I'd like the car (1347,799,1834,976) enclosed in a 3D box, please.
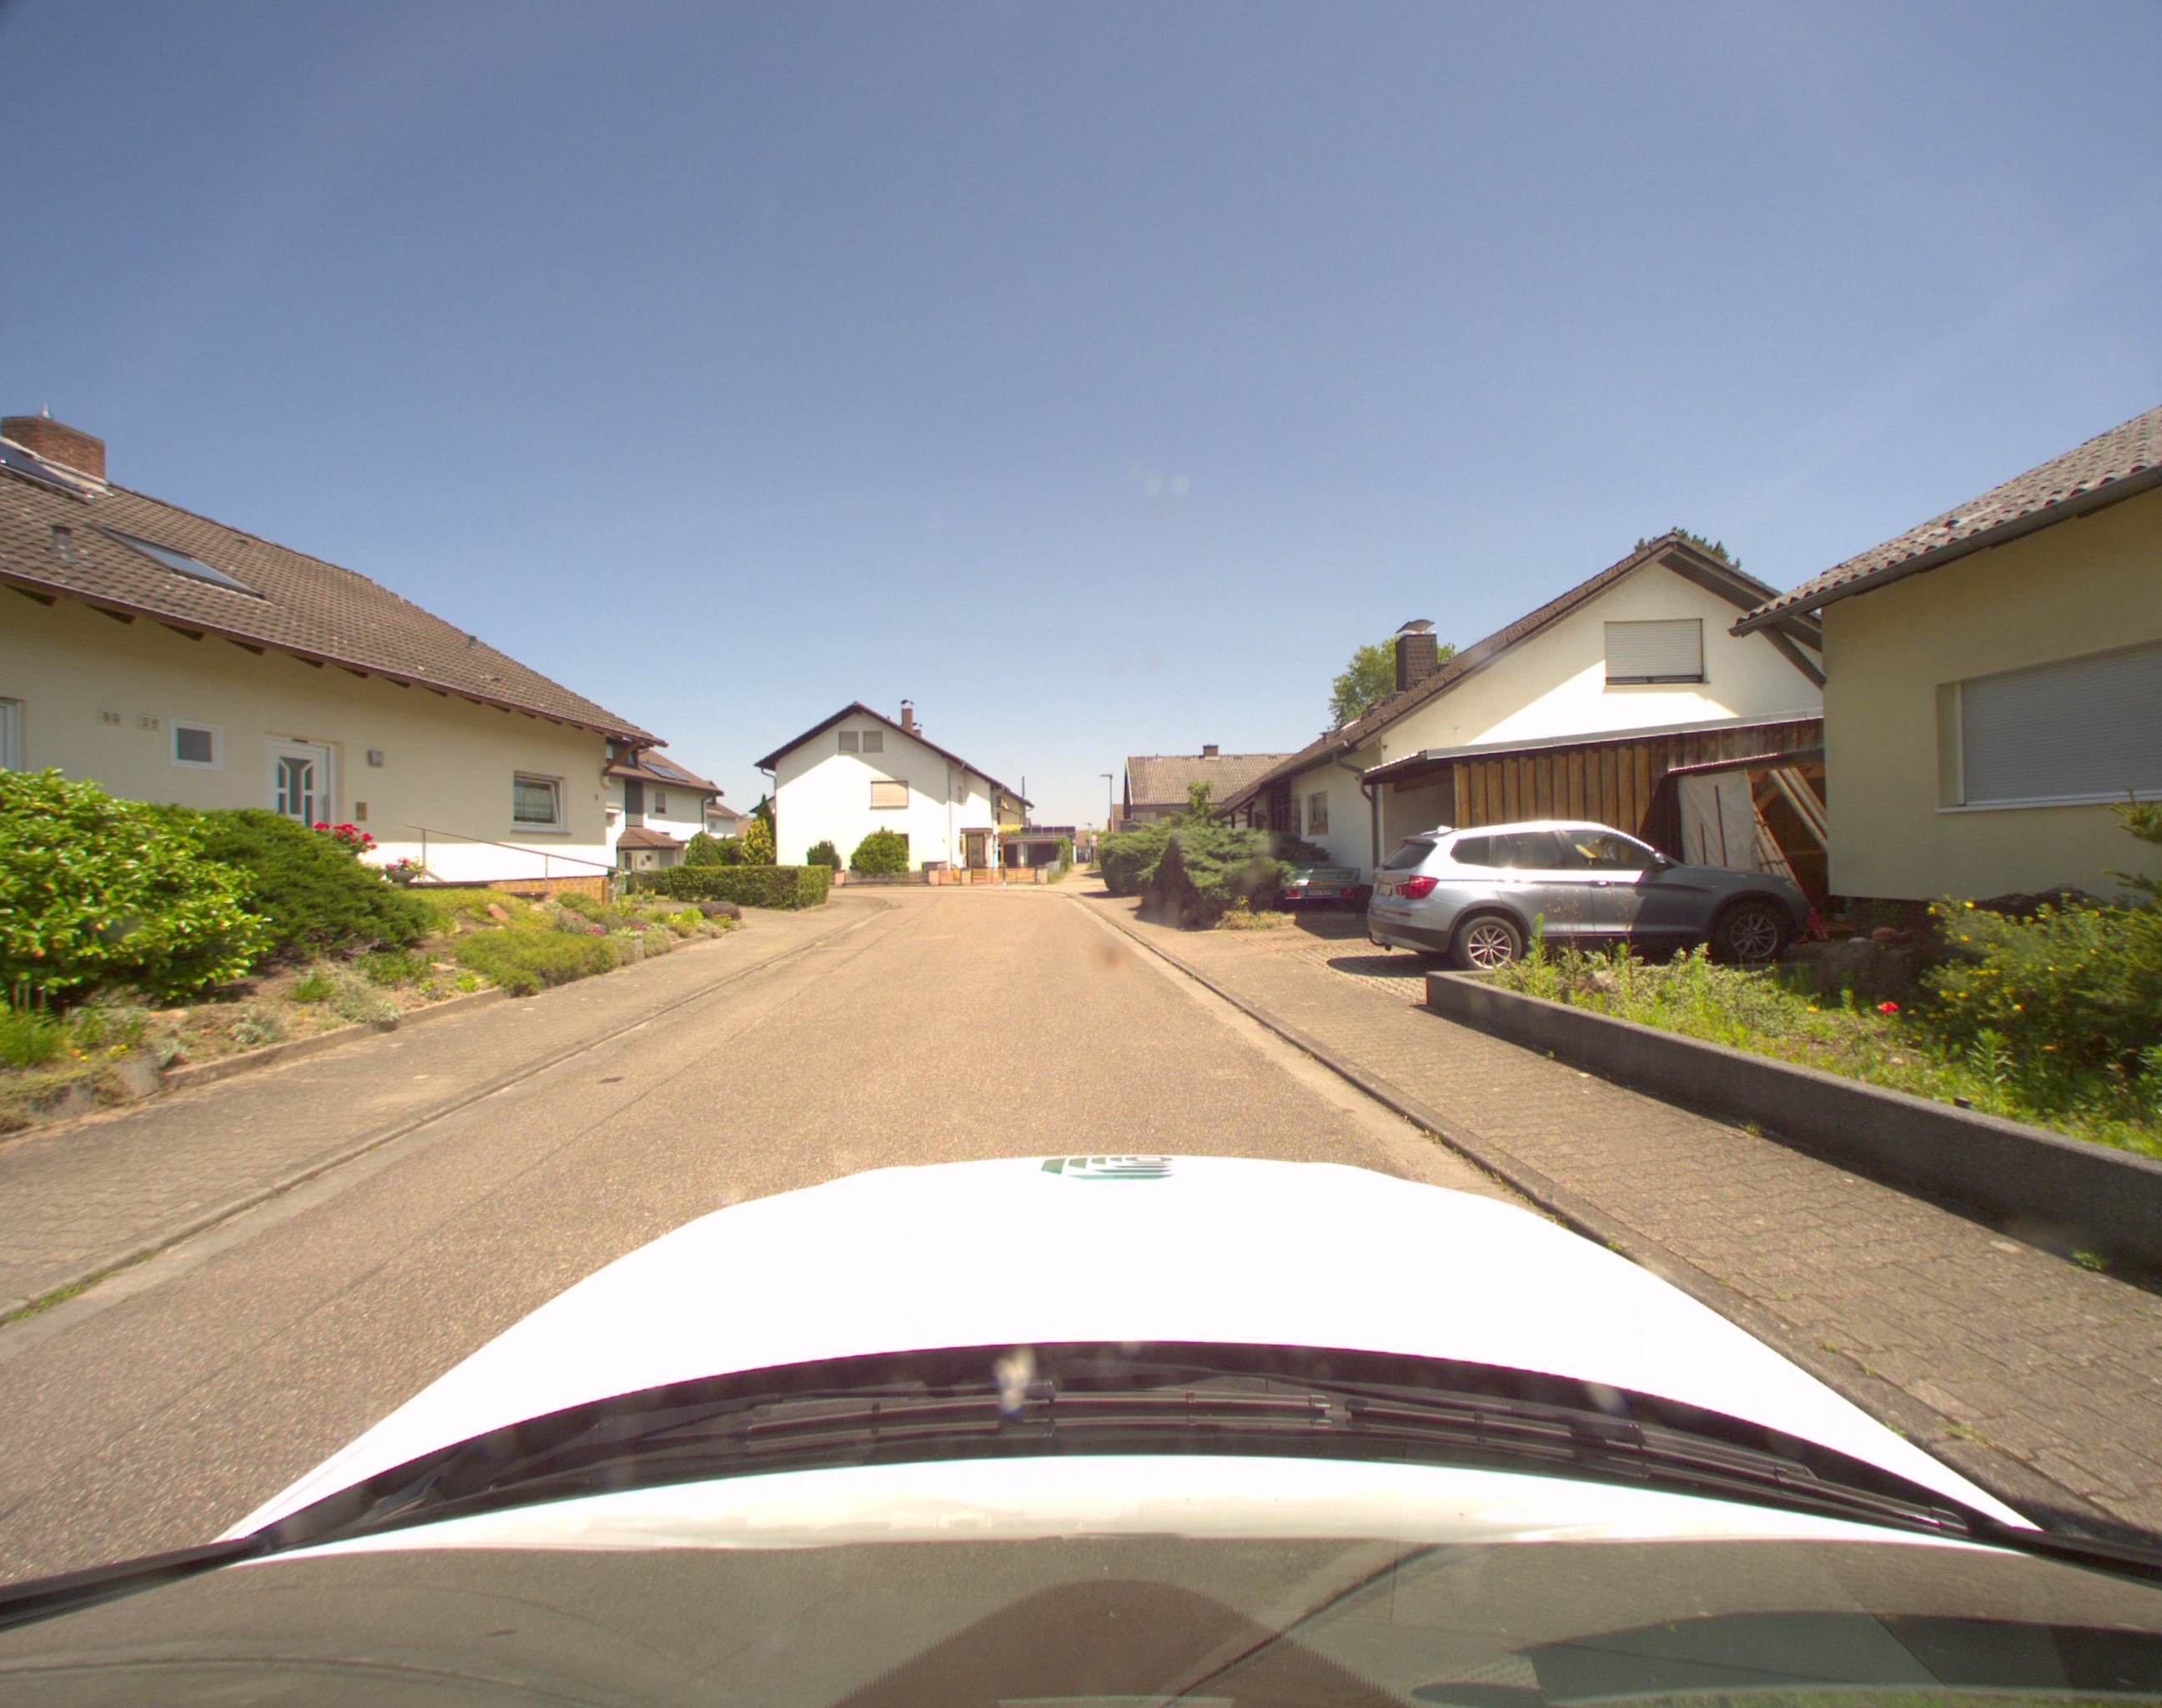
[{"bbox_3d":[5.768,0.373,9.689,4.607,1.702,1.711,-3,0,4],"label":"car"}]

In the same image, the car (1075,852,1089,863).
[{"bbox_3d":[0.241,0.515,135.433,2.185,1.701,3.809,-2,0,2],"label":"car"}]

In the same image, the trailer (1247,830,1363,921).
[{"bbox_3d":[4.633,0.397,17.292,1.581,1.672,3.298,-3,1,2],"label":"trailer"}]
